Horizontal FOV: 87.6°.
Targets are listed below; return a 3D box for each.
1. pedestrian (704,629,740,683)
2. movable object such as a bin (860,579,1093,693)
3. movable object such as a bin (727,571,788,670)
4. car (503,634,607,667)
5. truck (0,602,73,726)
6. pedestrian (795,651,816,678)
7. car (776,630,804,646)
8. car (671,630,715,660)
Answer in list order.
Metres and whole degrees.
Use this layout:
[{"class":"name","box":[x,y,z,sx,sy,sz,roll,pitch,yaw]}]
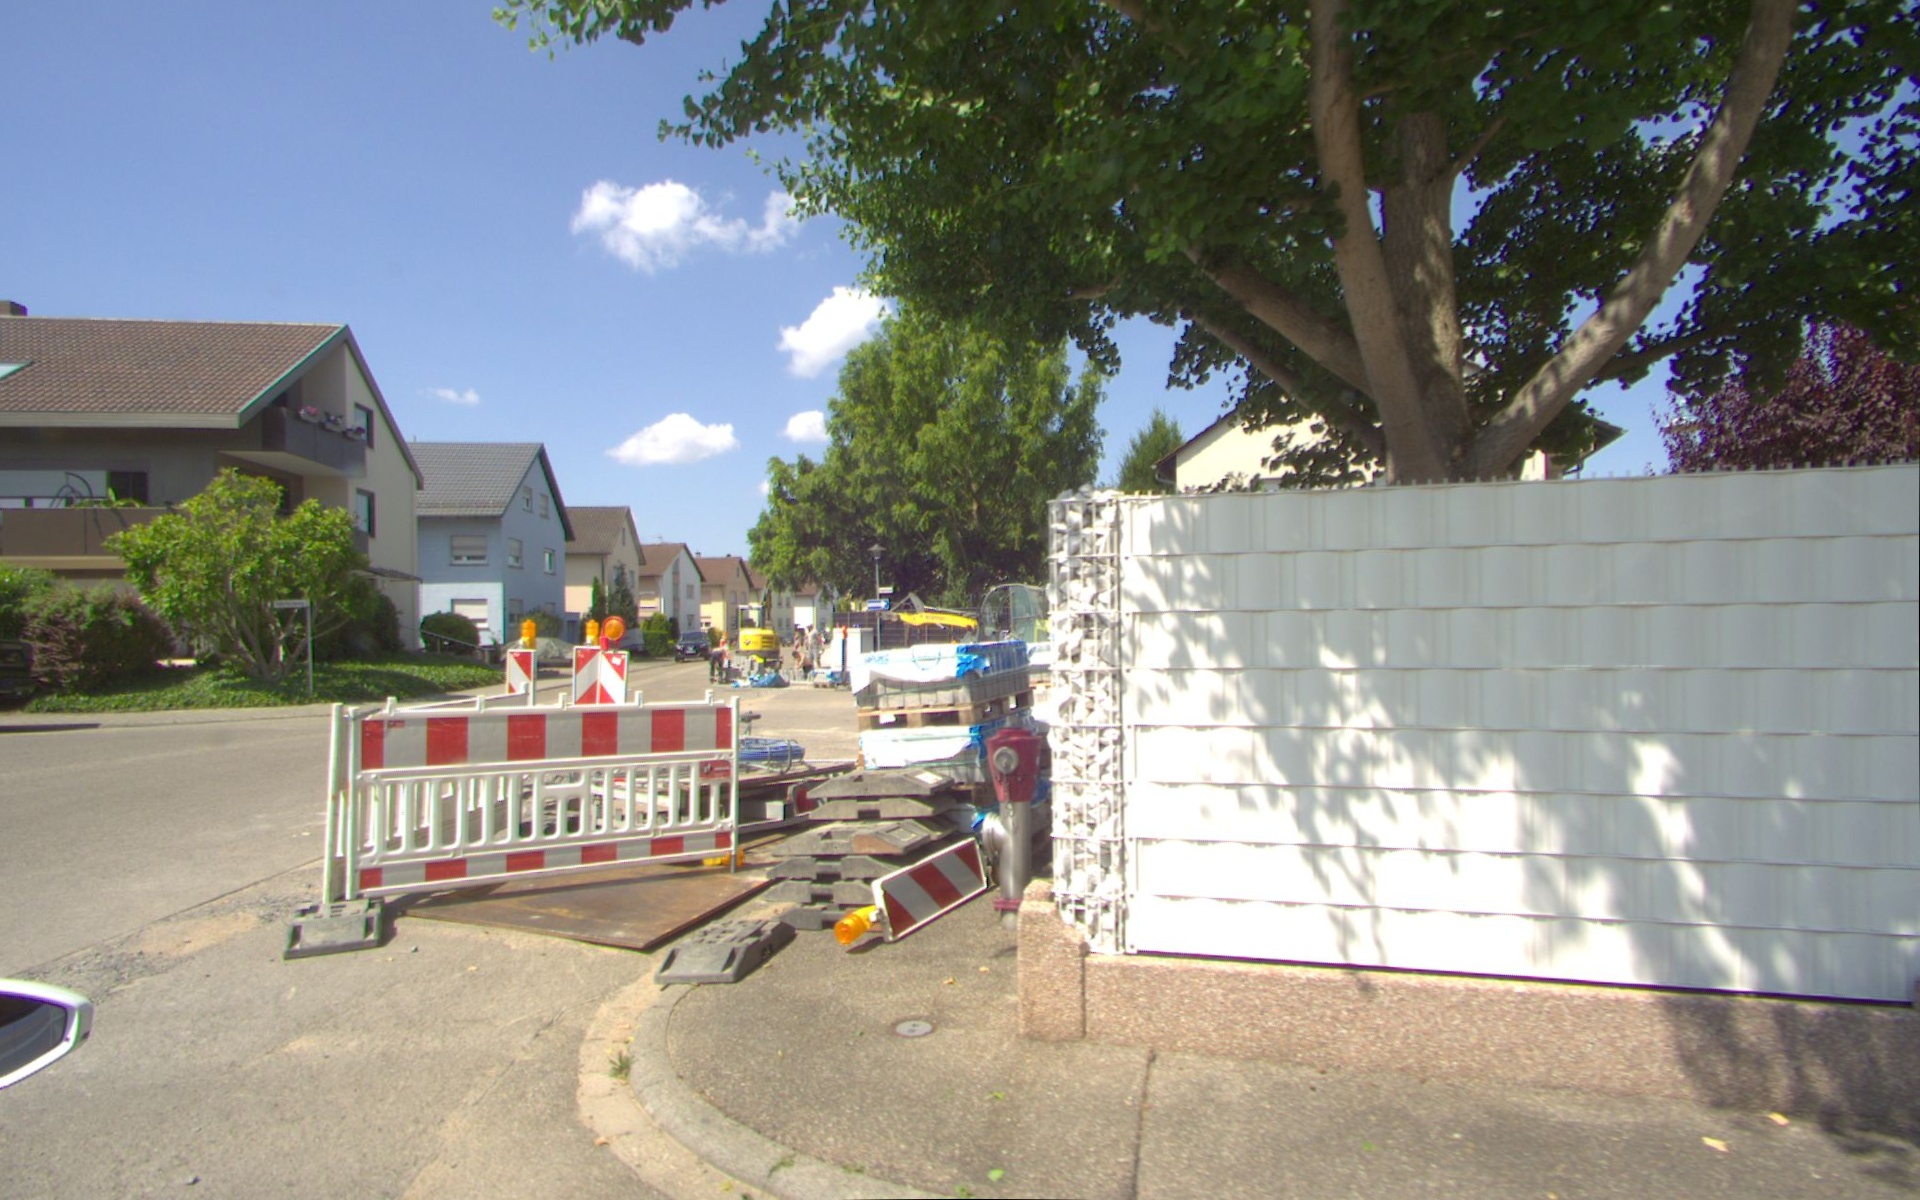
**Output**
[{"class":"pedestrian","box":[-6.923,1.611,29.166,0.526,1.533,0.844,-2,-1,41]},{"class":"movable object such as a bin","box":[0.367,0.897,23.720,5.147,2.482,1.995,-2,-3,25]},{"class":"movable object such as a bin","box":[-7.762,0.811,38.675,1.962,3.611,3.815,0,-1,-6]},{"class":"car","box":[-17.947,2.238,44.527,3.924,1.359,2.000,0,-1,-9]},{"class":"truck","box":[-18.597,1.090,16.447,5.605,2.039,2.371,0,-2,-10]},{"class":"pedestrian","box":[-4.864,2.023,31.523,0.517,0.803,0.428,-1,-1,-41]},{"class":"car","box":[-18.515,4.168,109.162,1.930,1.671,4.000,-1,-1,7]},{"class":"car","box":[-14.543,2.439,54.760,1.884,1.562,3.999,0,-1,-8]}]
